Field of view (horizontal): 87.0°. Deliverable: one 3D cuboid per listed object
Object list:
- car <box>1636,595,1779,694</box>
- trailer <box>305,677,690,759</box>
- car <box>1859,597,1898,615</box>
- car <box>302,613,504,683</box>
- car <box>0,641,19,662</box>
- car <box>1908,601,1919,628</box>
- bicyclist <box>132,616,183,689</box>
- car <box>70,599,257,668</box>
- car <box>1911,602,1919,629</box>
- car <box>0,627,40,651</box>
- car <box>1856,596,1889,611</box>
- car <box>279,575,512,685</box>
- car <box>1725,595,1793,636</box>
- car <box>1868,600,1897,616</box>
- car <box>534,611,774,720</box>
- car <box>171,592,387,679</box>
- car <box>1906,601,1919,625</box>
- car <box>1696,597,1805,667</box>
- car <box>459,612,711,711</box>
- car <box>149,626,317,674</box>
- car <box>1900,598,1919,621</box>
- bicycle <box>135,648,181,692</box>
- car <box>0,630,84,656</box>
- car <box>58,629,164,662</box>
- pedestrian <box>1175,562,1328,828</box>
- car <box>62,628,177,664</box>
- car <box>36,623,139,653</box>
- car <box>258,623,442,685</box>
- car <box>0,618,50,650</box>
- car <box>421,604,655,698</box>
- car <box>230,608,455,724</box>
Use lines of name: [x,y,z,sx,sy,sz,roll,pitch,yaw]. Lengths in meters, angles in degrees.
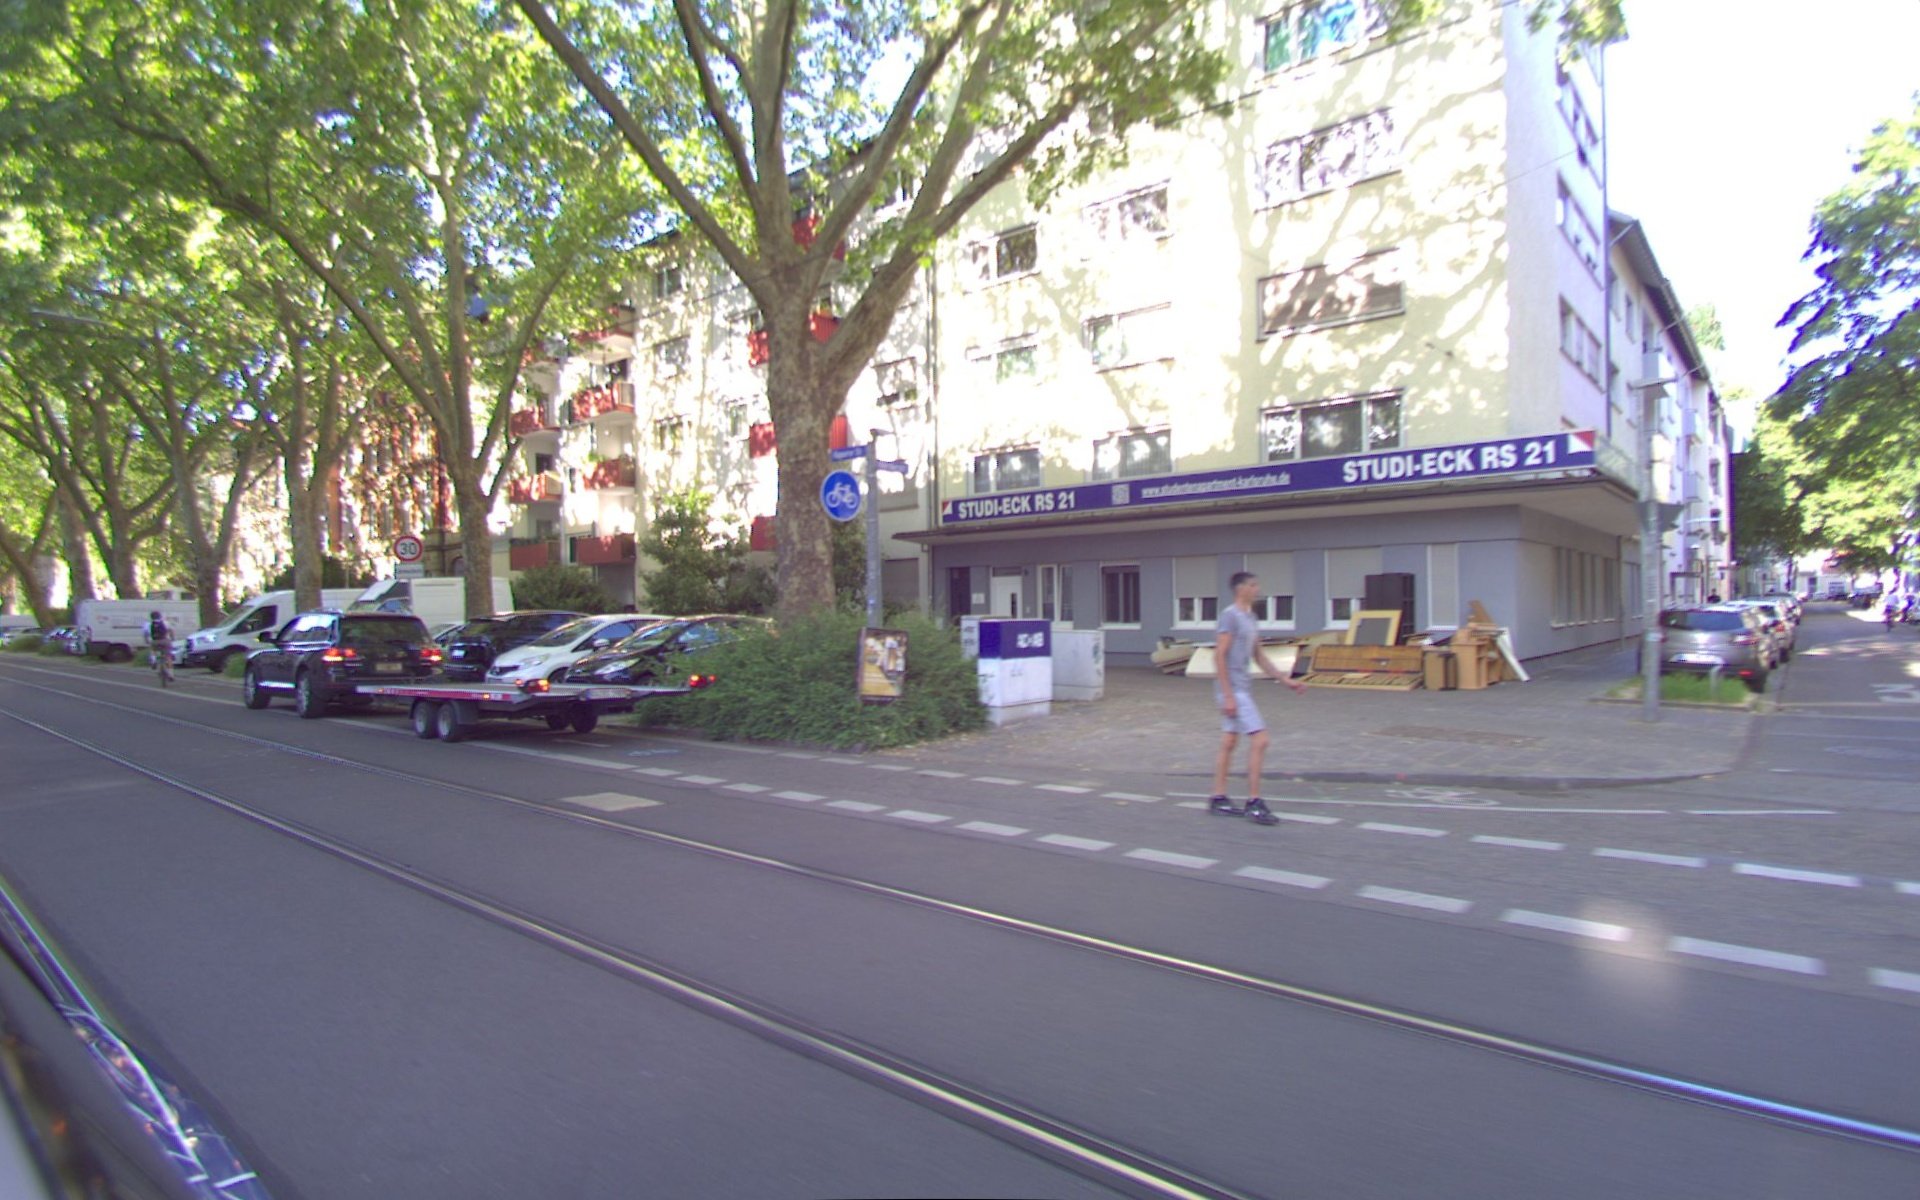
car: [13.202,0.717,17.917,1.818,1.546,3.950,-2,-1,37]
trailer: [-6.425,1.467,13.553,6.394,0.637,2.139,-2,-3,40]
car: [58.121,0.395,64.080,1.647,1.103,3.370,-2,-1,40]
car: [-13.263,1.091,24.254,1.859,1.489,3.816,-2,-1,39]
car: [-74.755,3.986,77.526,1.745,1.529,3.734,-2,-1,37]
car: [41.365,0.581,42.787,1.647,1.103,3.370,-2,-1,40]
bicyclist: [-19.032,1.228,24.010,0.957,1.690,0.776,-2,-1,40]
car: [-32.489,1.300,41.429,2.161,2.555,5.681,-2,0,41]
car: [38.735,0.596,39.856,1.647,1.022,3.370,-2,-1,40]
car: [-72.129,2.973,76.023,1.814,1.725,4.279,-2,-1,37]
car: [67.101,0.261,74.470,1.647,1.103,3.370,-2,-1,40]
car: [-14.574,0.717,26.425,2.078,2.587,4.899,-2,-1,36]
car: [29.191,0.552,37.054,1.818,1.442,3.950,-2,-1,37]
car: [79.374,0.694,87.116,1.647,1.306,3.370,-2,-1,40]
car: [-4.952,0.989,16.699,1.784,1.542,3.398,-2,-1,37]
car: [-21.273,1.022,31.830,2.056,2.496,5.305,-2,-1,41]
car: [45.609,0.599,47.432,1.647,1.103,3.370,-2,-1,40]
car: [18.199,0.695,23.414,1.818,1.463,3.950,-2,-1,37]
car: [-6.693,1.024,18.371,1.769,1.533,3.947,-2,-1,39]
car: [-24.960,1.662,34.849,1.932,1.395,4.365,-2,0,40]
car: [49.413,0.468,51.829,1.647,1.103,3.370,-2,-1,40]
bicycle: [-19.080,1.639,24.059,1.928,0.969,0.515,-2,-1,41]
car: [-55.839,2.580,61.319,1.877,1.471,3.947,-2,-1,40]
car: [-41.457,2.188,49.481,1.703,1.471,3.753,-2,-1,41]
pedestrian: [2.080,0.643,7.193,0.908,1.748,0.707,-2,-2,27]
car: [-39.712,2.148,47.873,1.829,1.507,3.945,-2,-1,41]
car: [-47.872,2.059,55.624,1.764,1.471,3.957,-2,-1,31]
car: [-16.765,1.432,27.932,1.871,1.477,3.977,-2,0,41]
car: [-78.687,2.848,82.429,1.999,2.425,6.535,-2,1,41]
car: [-8.442,0.951,20.485,1.892,1.660,3.947,-2,-1,39]
car: [-10.534,1.042,17.135,4.482,1.713,1.973,-2,-2,41]
